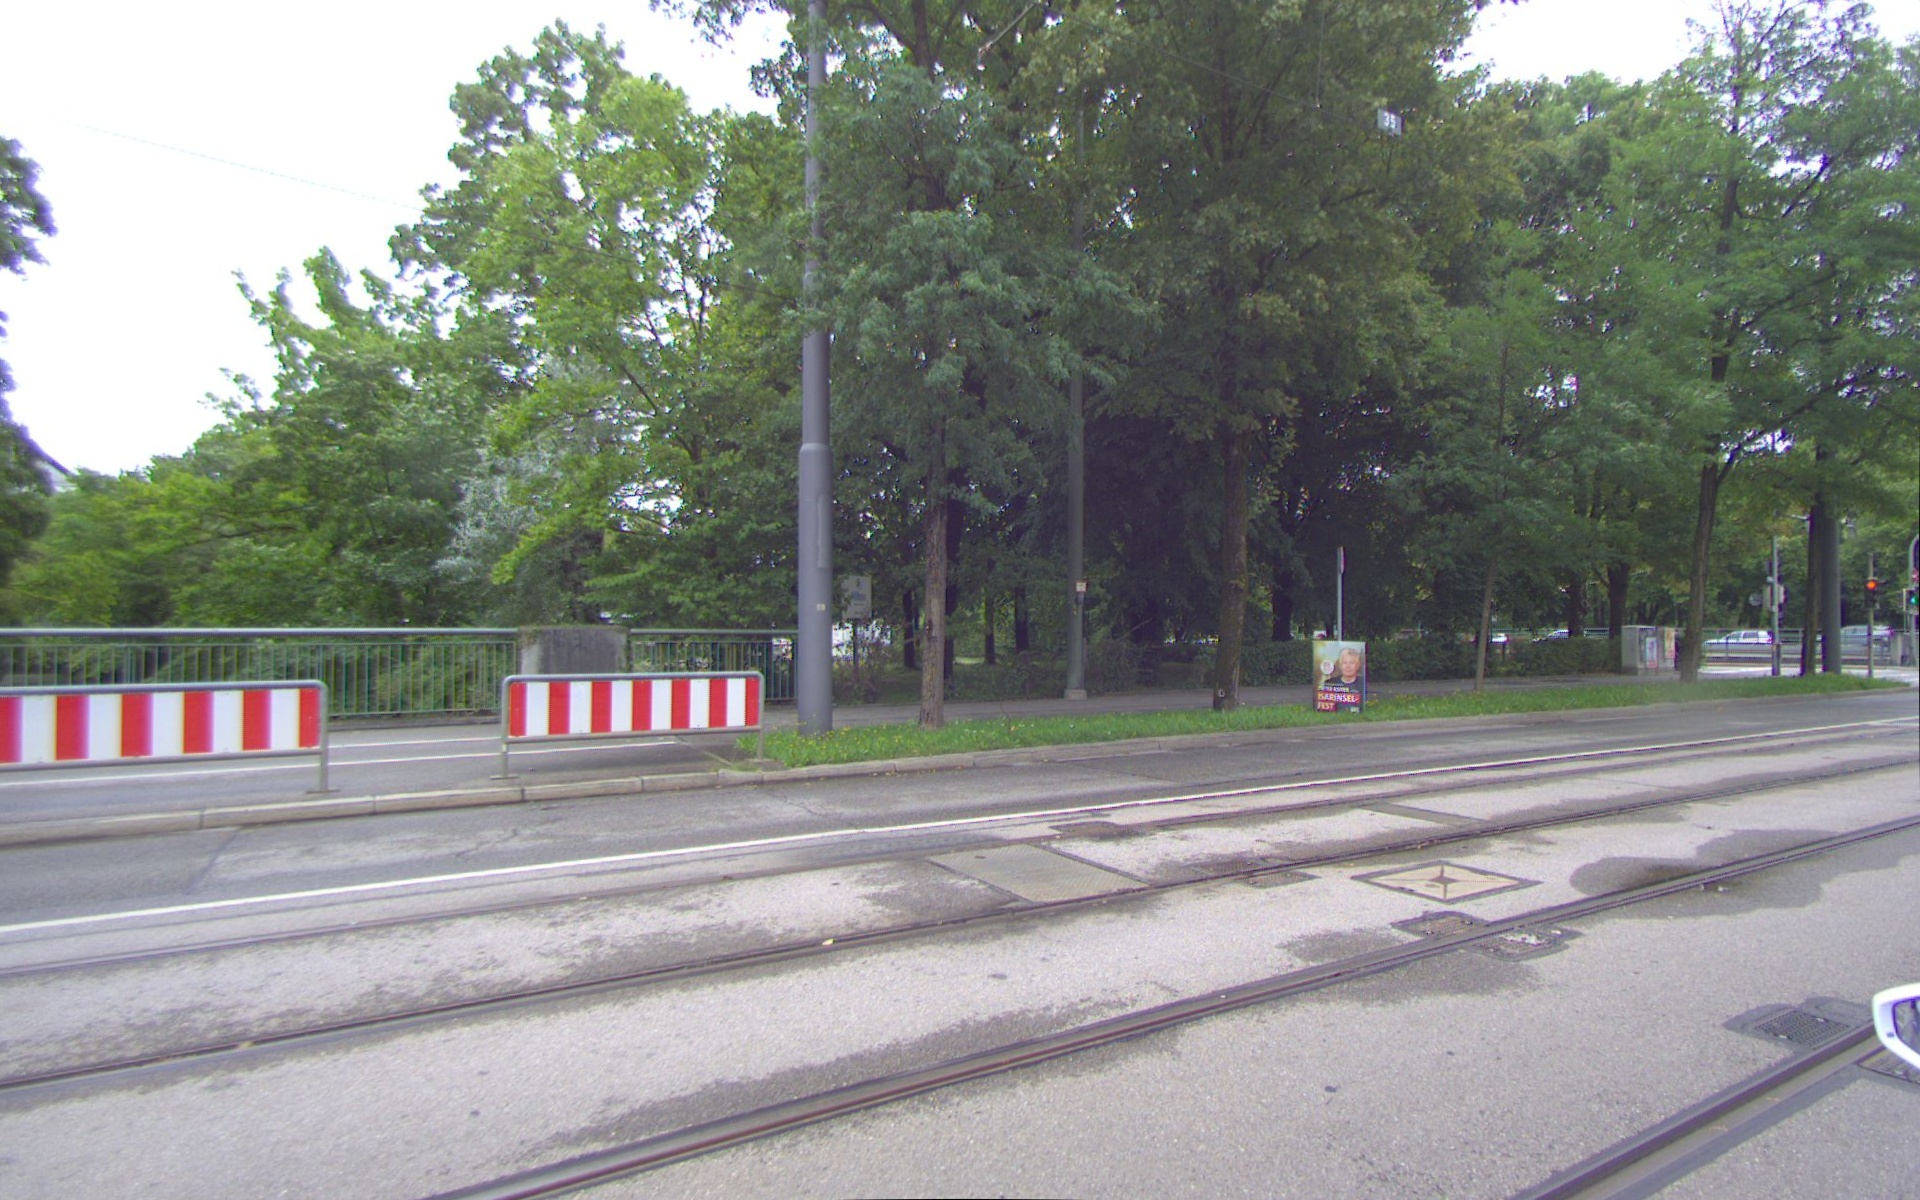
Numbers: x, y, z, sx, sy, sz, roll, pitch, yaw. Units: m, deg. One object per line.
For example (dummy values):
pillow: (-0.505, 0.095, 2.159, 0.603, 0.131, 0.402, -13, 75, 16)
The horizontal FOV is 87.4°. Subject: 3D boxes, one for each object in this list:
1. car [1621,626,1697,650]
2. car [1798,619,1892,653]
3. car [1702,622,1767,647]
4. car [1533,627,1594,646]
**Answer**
car: (47.739, 2.590, 68.678, 1.703, 1.423, 3.900, 2, 0, -34)
car: (53.133, 2.141, 60.380, 1.476, 1.912, 3.994, 1, 0, -36)
car: (50.061, 2.199, 64.954, 1.238, 1.471, 3.090, 1, 0, -34)
car: (44.384, 2.664, 73.939, 1.238, 1.201, 3.704, 2, 0, -34)
